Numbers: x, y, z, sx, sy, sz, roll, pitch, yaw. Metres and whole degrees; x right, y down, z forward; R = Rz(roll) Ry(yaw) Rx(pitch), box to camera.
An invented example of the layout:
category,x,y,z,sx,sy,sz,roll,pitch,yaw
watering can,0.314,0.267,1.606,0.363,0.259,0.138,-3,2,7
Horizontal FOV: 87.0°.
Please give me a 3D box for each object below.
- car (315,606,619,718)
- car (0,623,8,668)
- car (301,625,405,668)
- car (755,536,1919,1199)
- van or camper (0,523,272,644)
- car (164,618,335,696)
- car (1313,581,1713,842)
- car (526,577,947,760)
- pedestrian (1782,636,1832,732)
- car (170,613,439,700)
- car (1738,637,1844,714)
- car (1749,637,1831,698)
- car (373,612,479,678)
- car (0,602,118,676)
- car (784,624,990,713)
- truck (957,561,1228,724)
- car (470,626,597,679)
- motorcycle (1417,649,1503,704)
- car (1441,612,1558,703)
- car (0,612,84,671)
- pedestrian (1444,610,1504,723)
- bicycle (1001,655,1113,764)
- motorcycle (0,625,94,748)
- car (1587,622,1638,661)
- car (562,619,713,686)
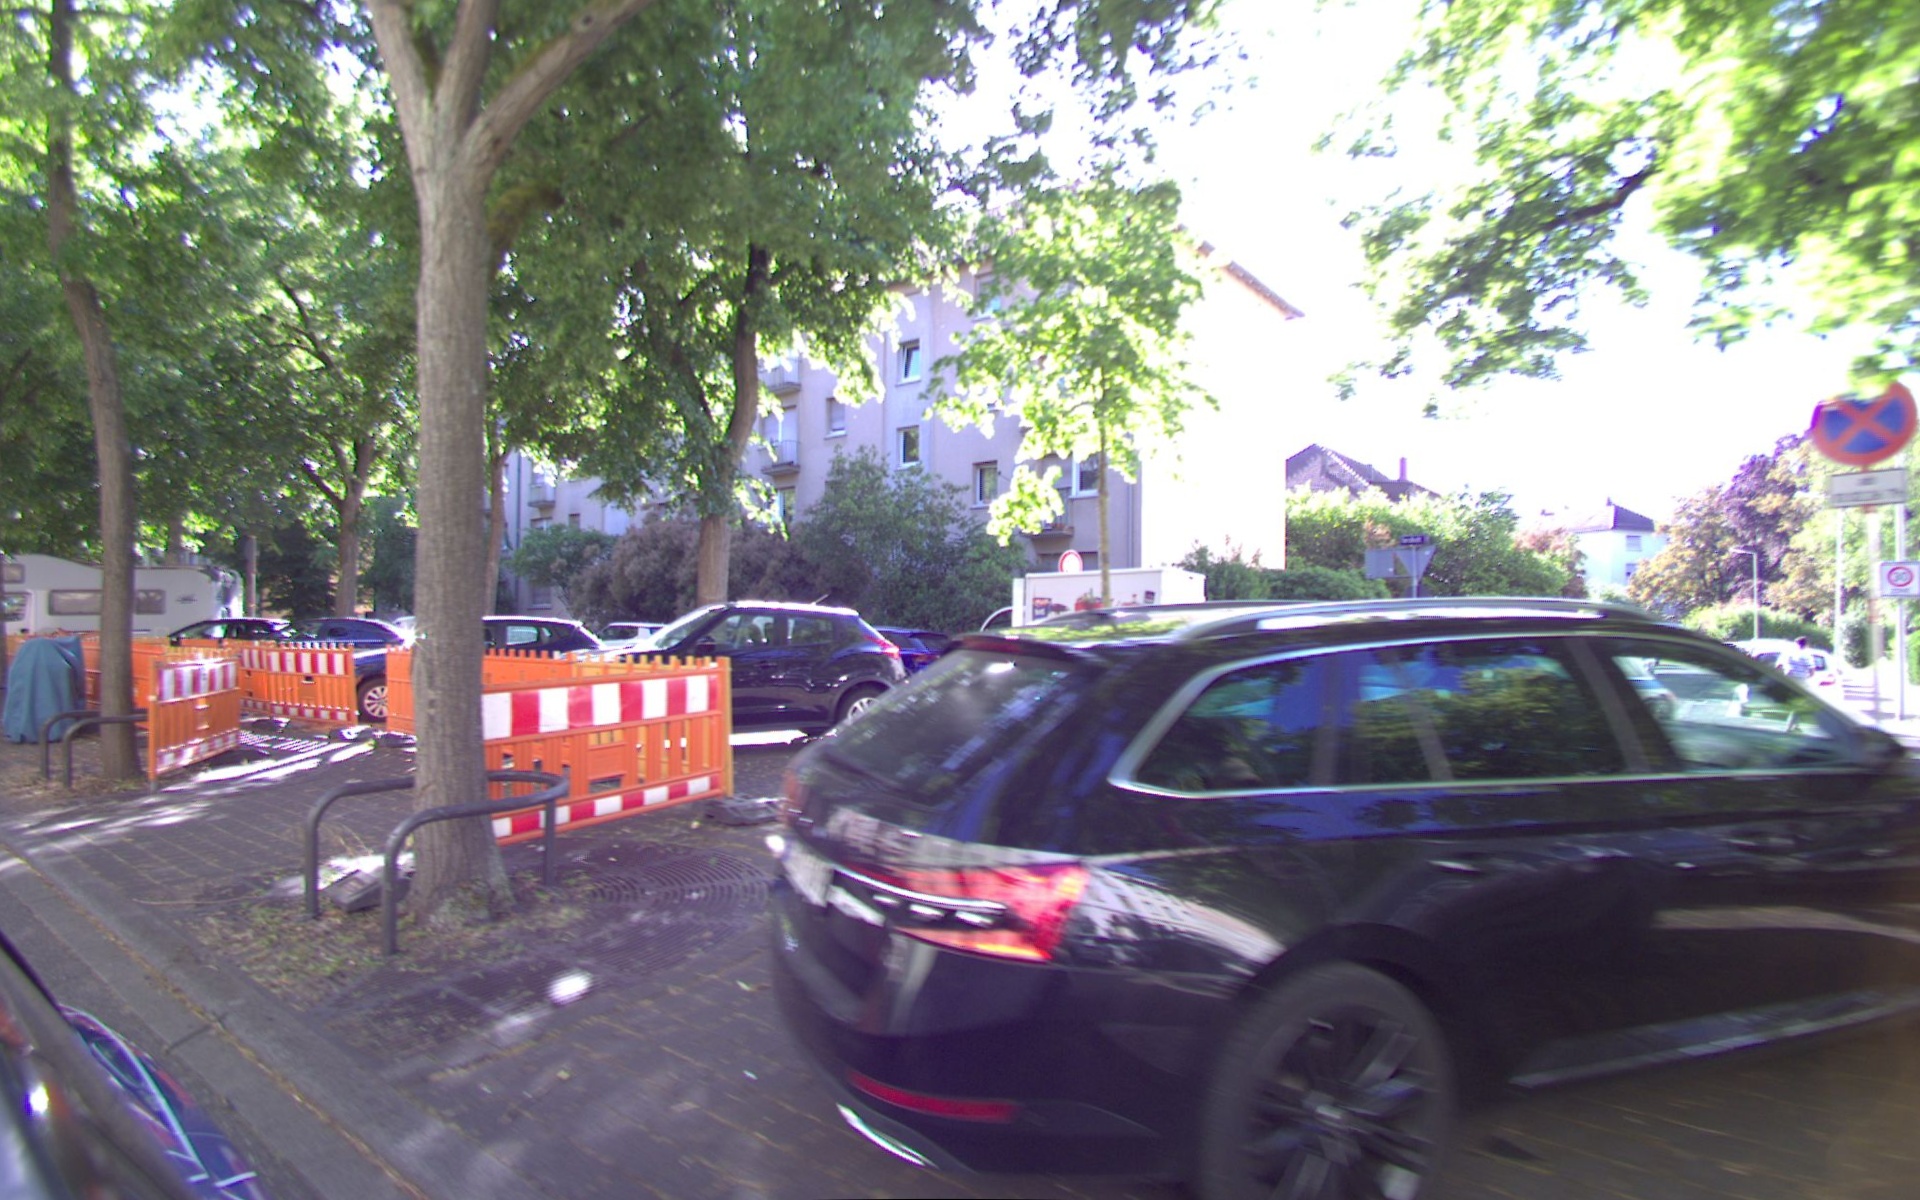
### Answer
category,x,y,z,sx,sy,sz,roll,pitch,yaw
car,-7.218,0.888,14.989,3.846,1.472,1.582,2,-2,-31
car,-33.221,1.417,31.793,4.446,1.495,1.743,1,-3,-21
car,-22.109,1.676,36.825,3.996,1.497,1.974,-1,-3,39
car,1.581,0.661,3.091,4.030,1.537,1.707,-3,0,-21
van or camper,-22.536,-0.339,27.483,5.928,3.025,2.407,1,-3,-22
car,-16.529,1.316,23.686,2.941,1.730,1.426,1,-2,-19
car,3.904,0.671,7.040,2.907,1.464,1.247,2,-2,-34
car,-2.337,0.697,10.814,4.062,1.638,1.703,2,-3,-28
pedestrian,14.862,1.461,17.773,0.554,1.652,0.485,-1,-3,30
car,-12.225,1.068,19.162,3.931,1.530,1.676,1,-2,-17
car,18.380,1.589,22.411,1.651,1.529,3.947,-1,-3,40
car,23.381,1.834,28.598,1.651,1.582,3.948,-1,-2,38
car,-17.539,1.428,33.143,4.264,2.029,1.604,-1,-1,40
car,-33.642,1.353,35.313,6.094,2.530,2.145,2,-3,-24
car,-1.543,1.278,20.194,4.190,1.586,1.604,-1,-1,40
truck,2.167,0.701,17.252,4.262,2.428,1.901,-1,-3,41
car,-12.533,1.493,29.630,4.123,1.454,1.702,-1,-3,39
motorcycle,11.068,1.677,22.468,0.471,1.145,1.816,1,-2,-24
car,13.439,1.410,25.080,1.996,2.041,4.308,-1,-4,36
car,-27.515,1.169,28.474,3.930,1.629,1.803,2,-3,-26
pedestrian,8.551,1.089,16.848,0.573,1.837,0.672,1,-2,-30
bicycle,0.994,1.041,10.009,0.283,0.988,1.608,-1,-3,38
motorcycle,-11.054,0.980,12.292,0.622,1.334,2.234,0,-1,-36
car,27.301,1.763,42.281,1.602,1.538,3.819,-1,-4,36
car,-8.280,1.294,25.818,4.109,1.571,1.702,-1,-3,39
